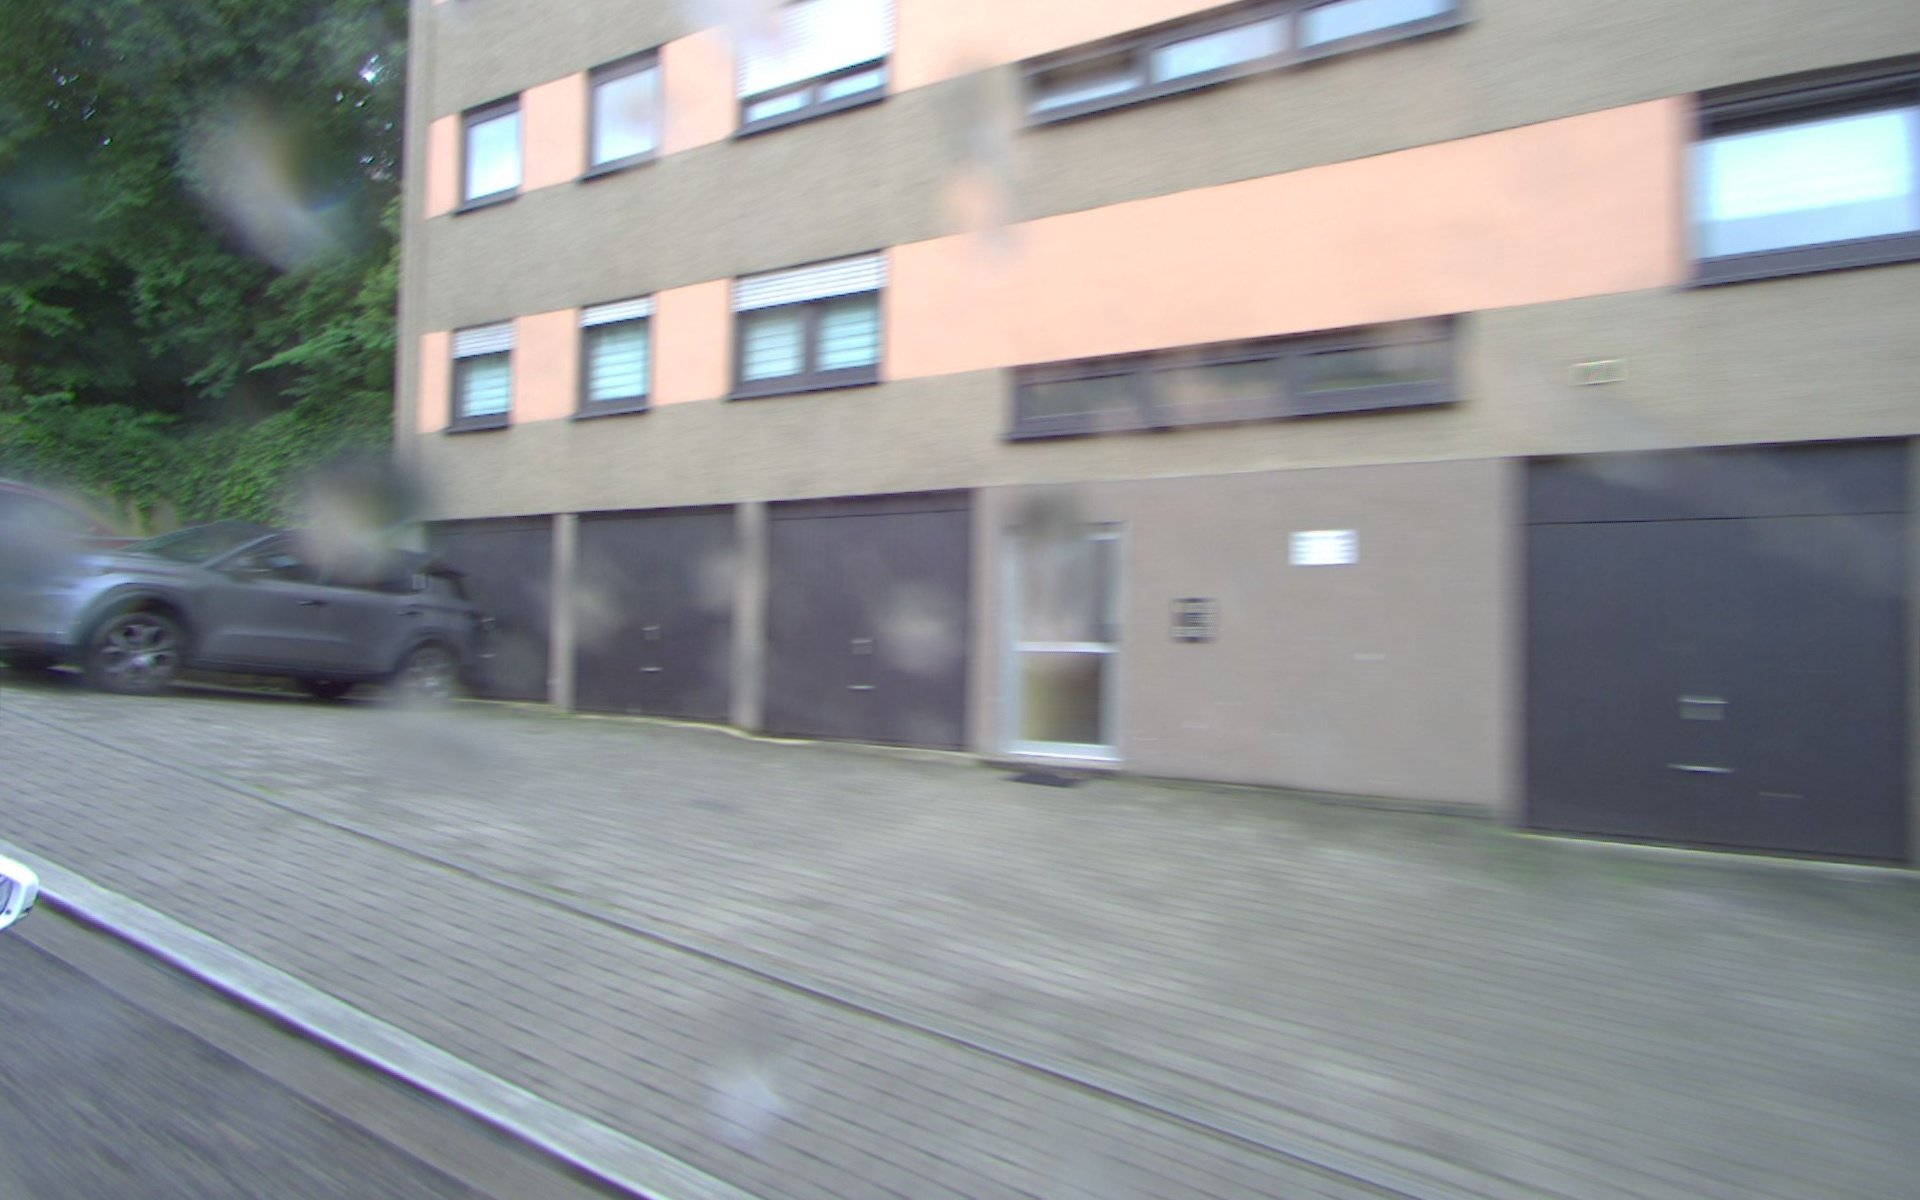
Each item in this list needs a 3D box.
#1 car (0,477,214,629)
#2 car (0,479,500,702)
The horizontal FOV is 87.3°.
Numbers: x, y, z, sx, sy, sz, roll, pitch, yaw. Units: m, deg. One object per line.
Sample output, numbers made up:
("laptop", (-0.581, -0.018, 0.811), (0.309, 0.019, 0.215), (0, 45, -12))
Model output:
("car", (-12.996, -0.745, 13.617), (1.728, 1.753, 4.216), (6, -3, 23))
("car", (-6.774, 0.047, 9.460), (1.728, 1.512, 4.214), (6, -4, 25))
